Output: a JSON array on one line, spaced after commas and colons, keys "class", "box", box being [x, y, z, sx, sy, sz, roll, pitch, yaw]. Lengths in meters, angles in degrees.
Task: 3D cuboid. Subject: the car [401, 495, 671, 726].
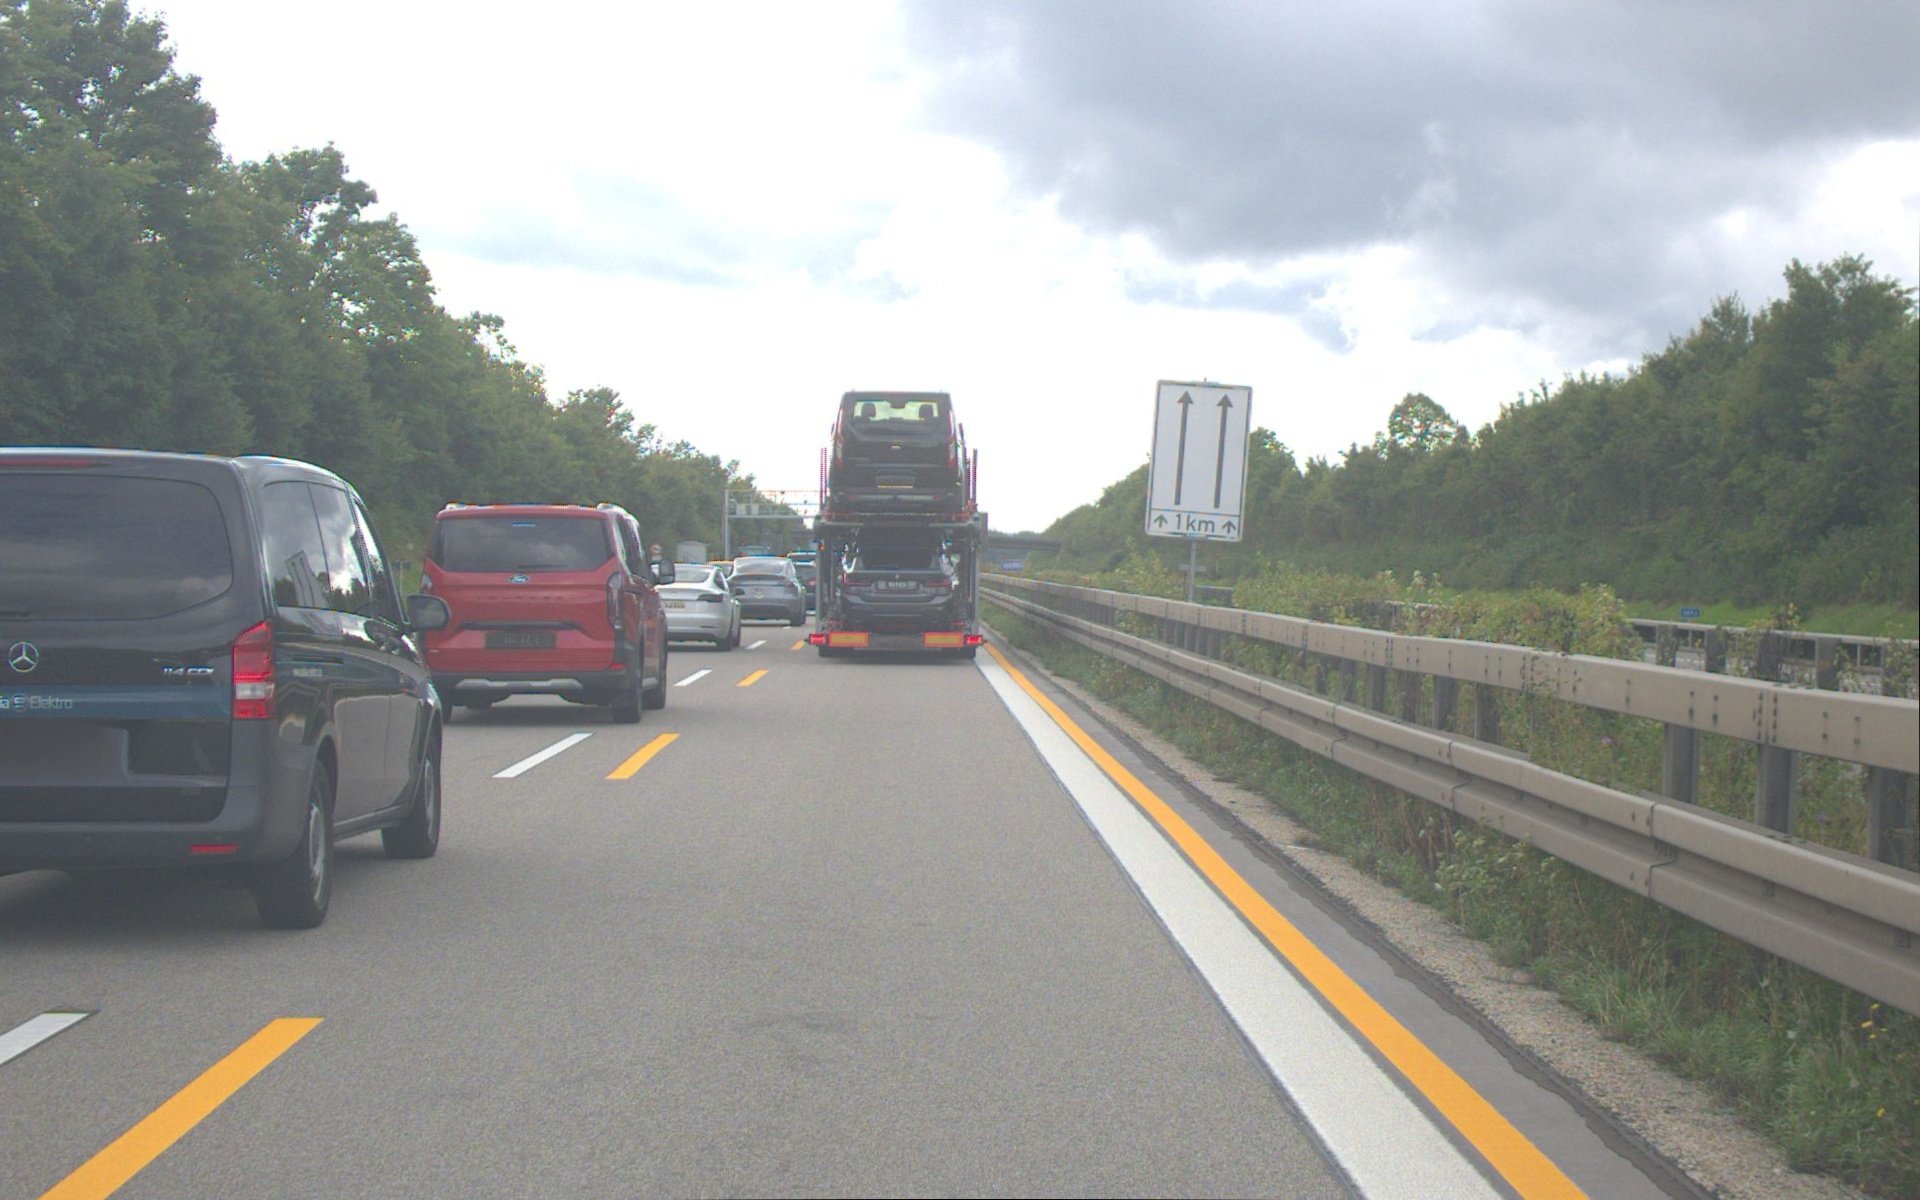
[{"class": "car", "box": [-3.873, 0.065, 32.169, 2.031, 2.007, 4.578, 0, 1, -1]}]

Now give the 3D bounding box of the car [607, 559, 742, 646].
[{"class": "car", "box": [-4.805, 0.017, 58.333, 2.031, 1.426, 4.578, 0, 1, -2]}]

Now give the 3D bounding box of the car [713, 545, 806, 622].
[{"class": "car", "box": [-4.662, -0.394, 80.473, 2.031, 1.751, 4.578, 0, 1, -2]}]

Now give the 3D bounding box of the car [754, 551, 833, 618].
[{"class": "car", "box": [-4.452, -0.441, 92.560, 2.031, 1.751, 4.578, 0, 1, -2]}]

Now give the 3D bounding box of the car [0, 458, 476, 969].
[{"class": "car", "box": [-3.484, 0.377, 15.154, 1.993, 1.837, 5.610, 0, 1, -1]}]

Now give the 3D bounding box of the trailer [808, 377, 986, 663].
[{"class": "trailer", "box": [-0.944, -1.203, 55.033, 2.515, 4.091, 11.113, 1, 1, 0]}]

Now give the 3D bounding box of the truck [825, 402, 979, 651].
[{"class": "truck", "box": [-0.973, -1.247, 59.764, 2.515, 4.091, 5.685, 1, 1, 0]}]
